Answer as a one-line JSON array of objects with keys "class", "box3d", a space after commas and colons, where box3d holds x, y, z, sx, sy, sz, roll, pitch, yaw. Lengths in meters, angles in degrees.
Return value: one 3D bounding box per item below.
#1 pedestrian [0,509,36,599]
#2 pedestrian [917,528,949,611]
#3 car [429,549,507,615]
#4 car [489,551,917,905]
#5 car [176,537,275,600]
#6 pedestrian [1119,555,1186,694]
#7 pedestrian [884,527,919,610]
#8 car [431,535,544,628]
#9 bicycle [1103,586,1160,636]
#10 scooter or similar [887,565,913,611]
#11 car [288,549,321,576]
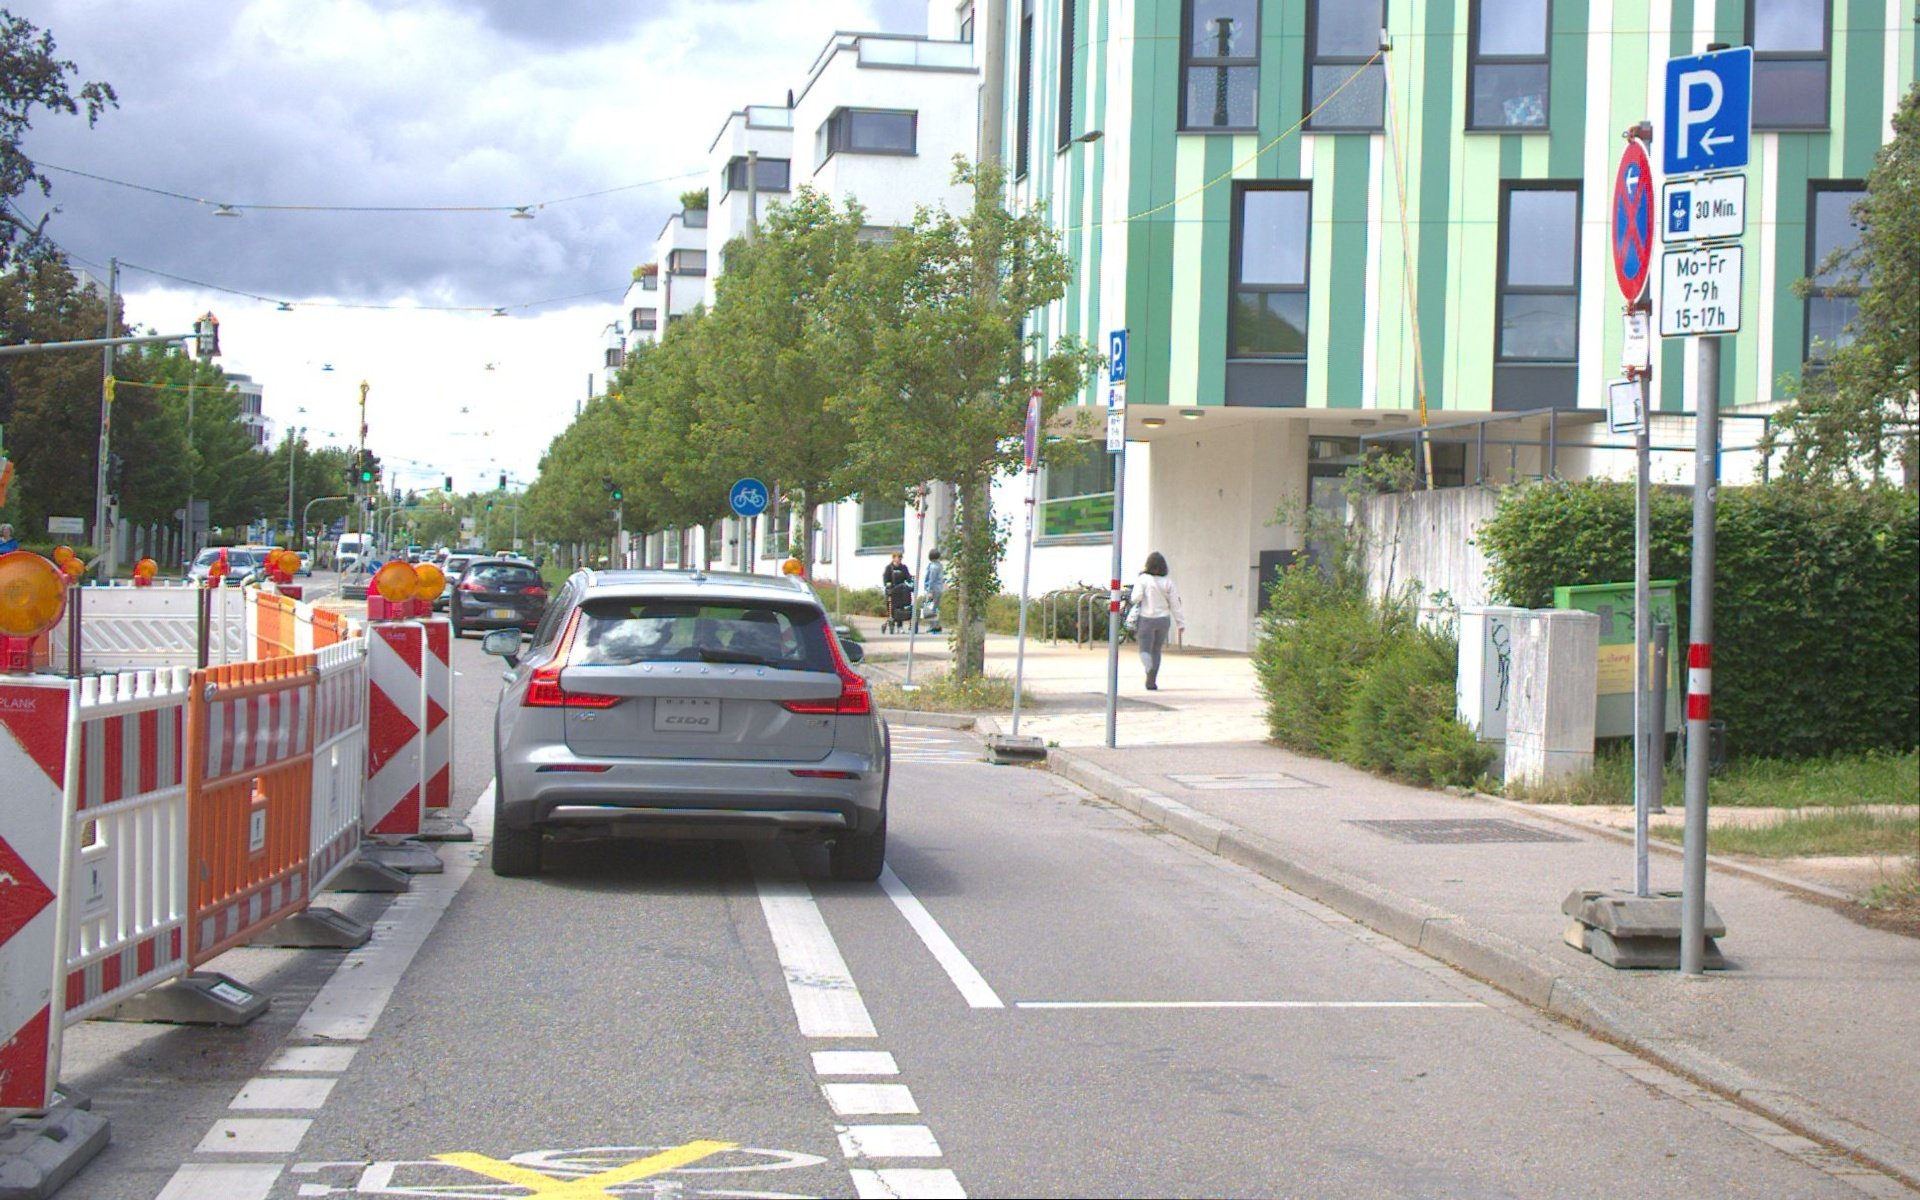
[{"class": "pedestrian", "box3d": [-19.731, -0.964, 71.891, 0.681, 1.848, 0.892, 1, 0, -8]}, {"class": "pedestrian", "box3d": [-0.536, -0.607, 68.387, 0.550, 1.649, 0.607, 1, 1, -9]}, {"class": "car", "box3d": [-12.411, -0.471, 86.551, 1.844, 1.508, 4.001, 2, 1, -9]}, {"class": "car", "box3d": [-1.374, 0.548, 17.350, 1.854, 1.508, 4.001, 2, 1, -7]}, {"class": "car", "box3d": [-18.139, -0.791, 85.068, 1.854, 1.508, 4.001, 1, 1, -4]}, {"class": "pedestrian", "box3d": [2.172, 0.267, 38.840, 0.581, 1.546, 0.869, 1, 1, -8]}, {"class": "pedestrian", "box3d": [-1.178, -0.627, 69.026, 0.605, 1.649, 0.552, 1, 1, -9]}, {"class": "car", "box3d": [-8.396, -0.355, 60.884, 1.854, 1.508, 4.001, 2, 1, -9]}, {"class": "bicycle", "box3d": [2.920, 0.177, 58.431, 1.022, 0.839, 0.307, 0, 1, -41]}, {"class": "scooter or similar", "box3d": [-1.188, -0.249, 68.509, 0.421, 0.902, 0.682, 1, 1, -9]}, {"class": "car", "box3d": [-38.448, -2.185, 201.681, 1.660, 1.510, 4.001, 1, 1, -9]}]
